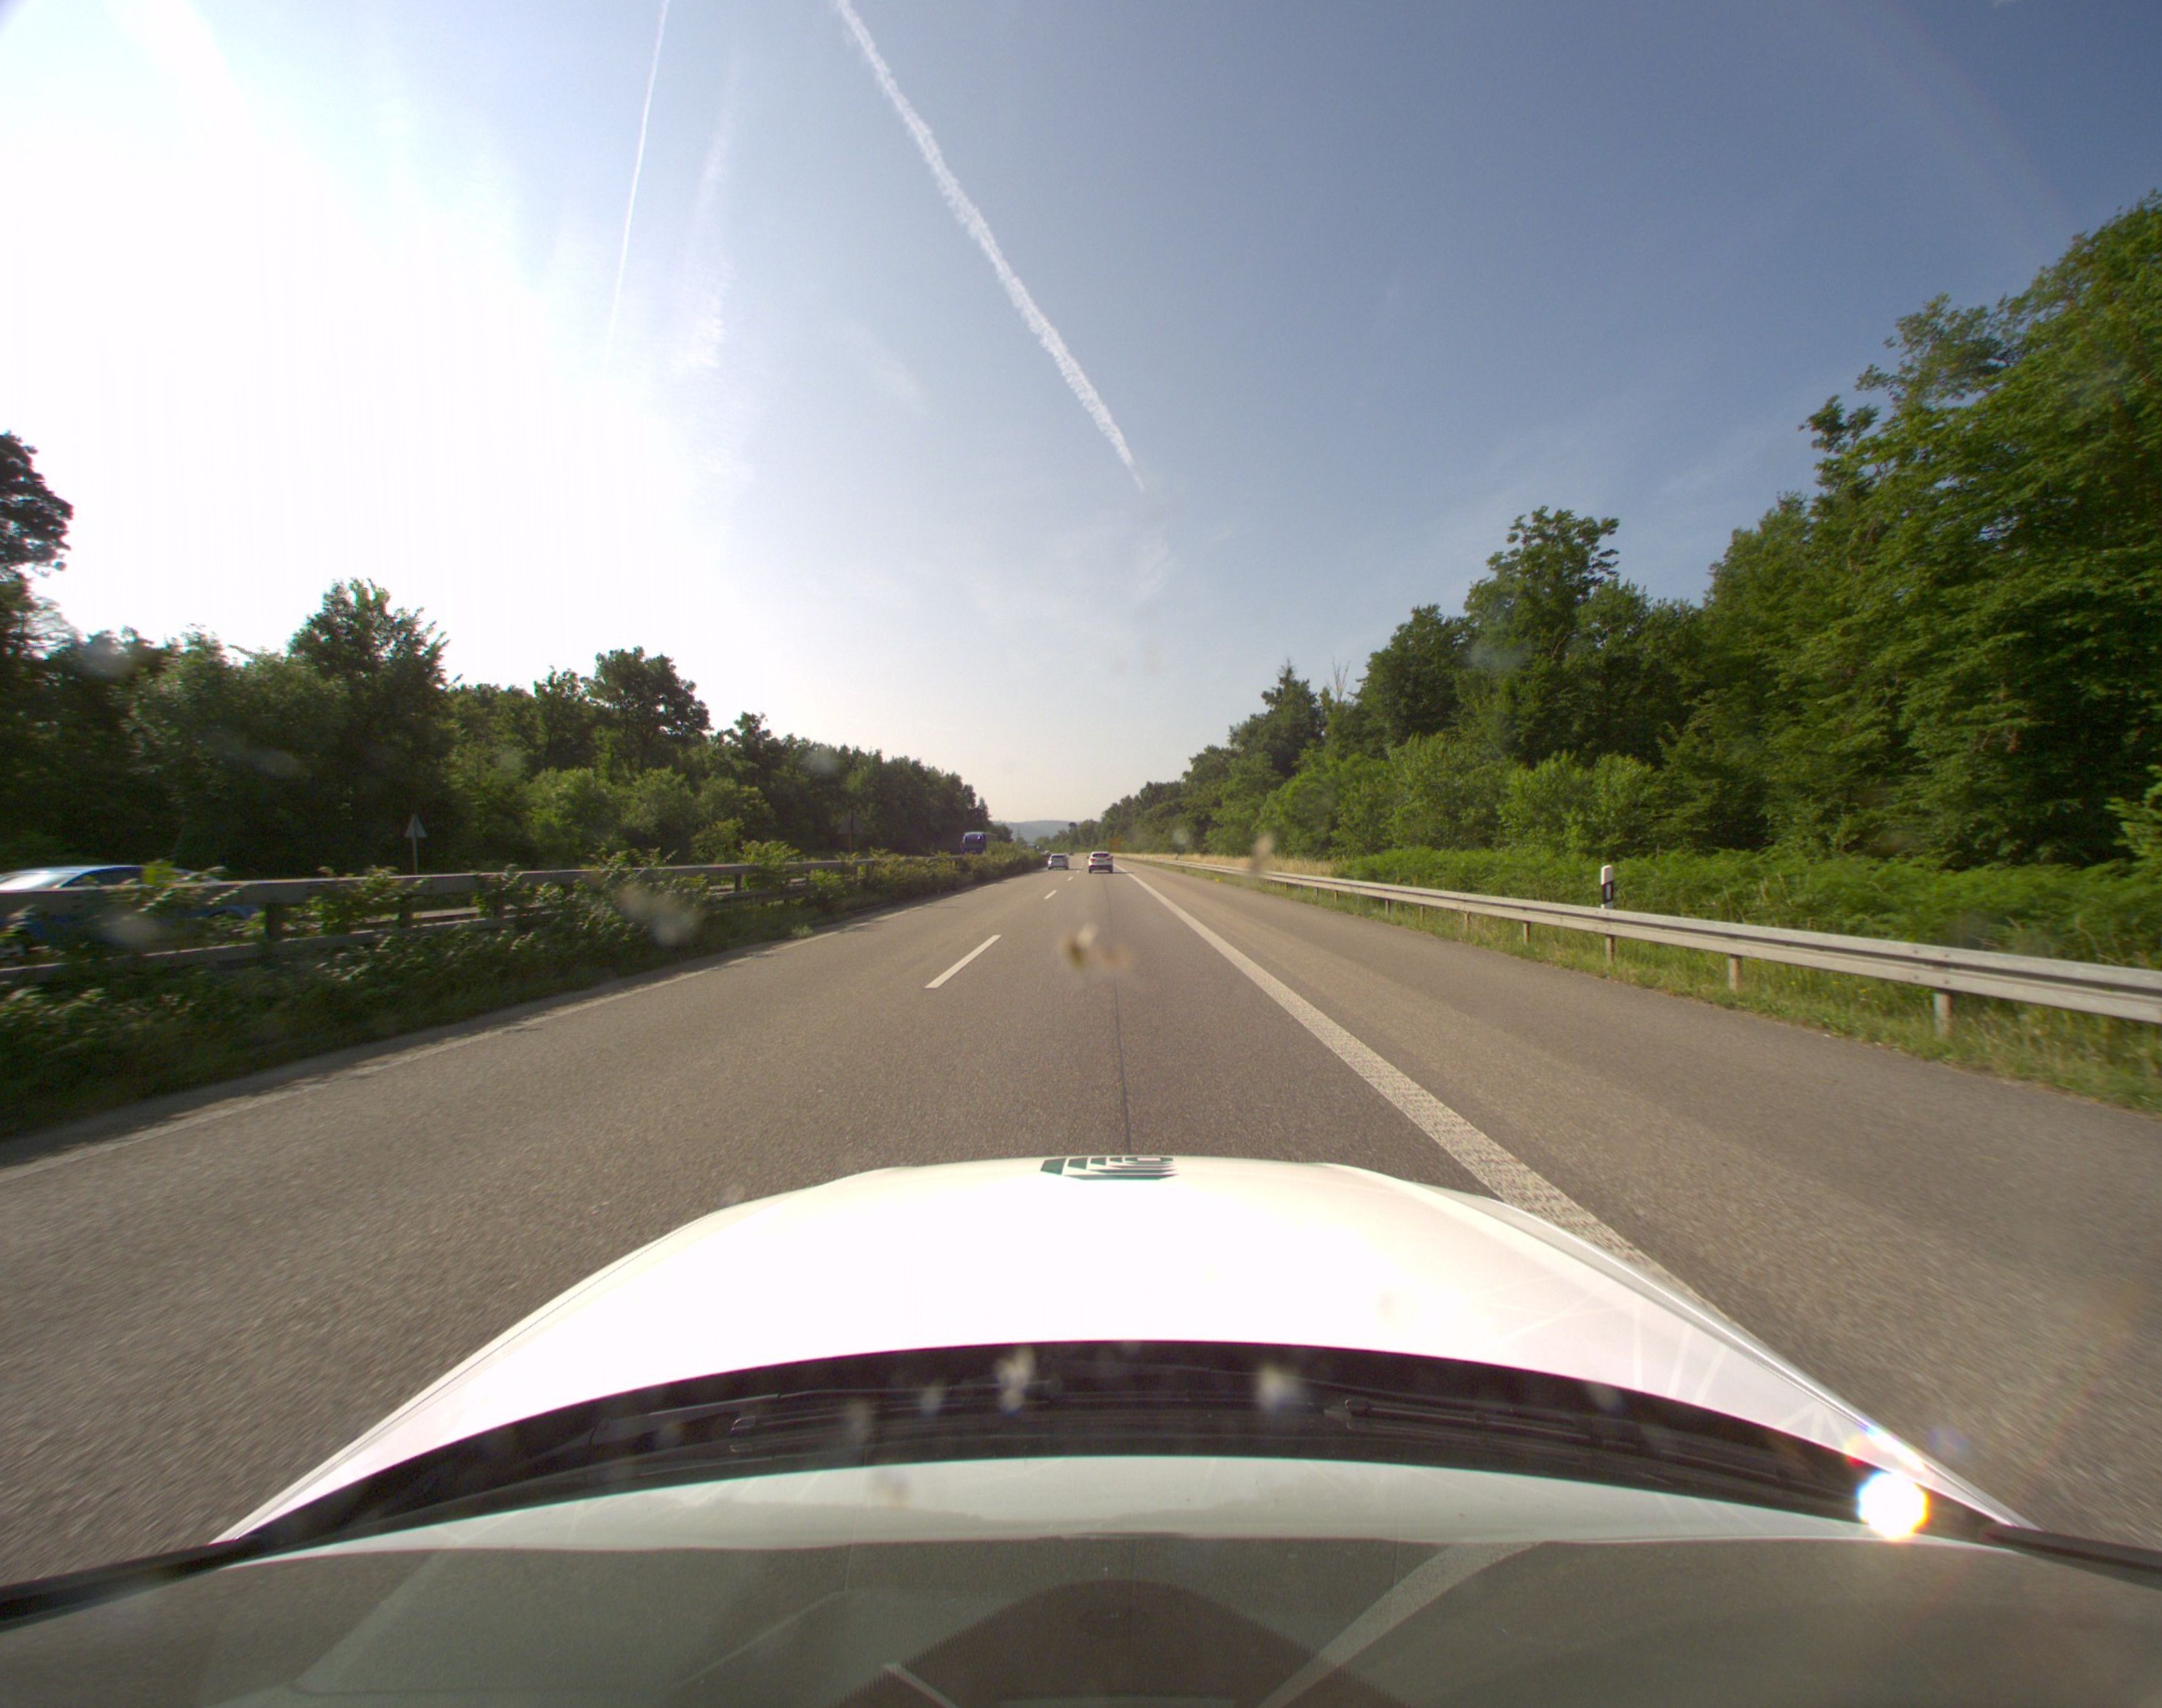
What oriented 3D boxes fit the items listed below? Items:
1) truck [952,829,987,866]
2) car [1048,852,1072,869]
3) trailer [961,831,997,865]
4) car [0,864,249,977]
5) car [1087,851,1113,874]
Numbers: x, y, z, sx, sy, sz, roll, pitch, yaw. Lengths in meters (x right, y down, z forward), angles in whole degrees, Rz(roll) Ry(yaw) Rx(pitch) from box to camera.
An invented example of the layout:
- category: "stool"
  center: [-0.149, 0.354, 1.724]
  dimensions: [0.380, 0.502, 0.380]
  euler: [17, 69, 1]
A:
- category: "truck"
  center: [-12.872, -0.733, 94.733]
  dimensions: [2.774, 3.998, 8.418]
  euler: [-1, 0, 1]
- category: "car"
  center: [-1.936, 0.538, 75.370]
  dimensions: [1.785, 1.438, 5.283]
  euler: [-1, 0, 3]
- category: "trailer"
  center: [-12.634, -0.776, 101.941]
  dimensions: [2.821, 3.998, 11.437]
  euler: [-1, 0, 1]
- category: "car"
  center: [-14.786, 0.892, 11.683]
  dimensions: [1.551, 1.429, 3.912]
  euler: [-1, 0, 3]
- category: "car"
  center: [1.435, 0.591, 60.652]
  dimensions: [1.867, 1.586, 4.001]
  euler: [1, 1, 1]
